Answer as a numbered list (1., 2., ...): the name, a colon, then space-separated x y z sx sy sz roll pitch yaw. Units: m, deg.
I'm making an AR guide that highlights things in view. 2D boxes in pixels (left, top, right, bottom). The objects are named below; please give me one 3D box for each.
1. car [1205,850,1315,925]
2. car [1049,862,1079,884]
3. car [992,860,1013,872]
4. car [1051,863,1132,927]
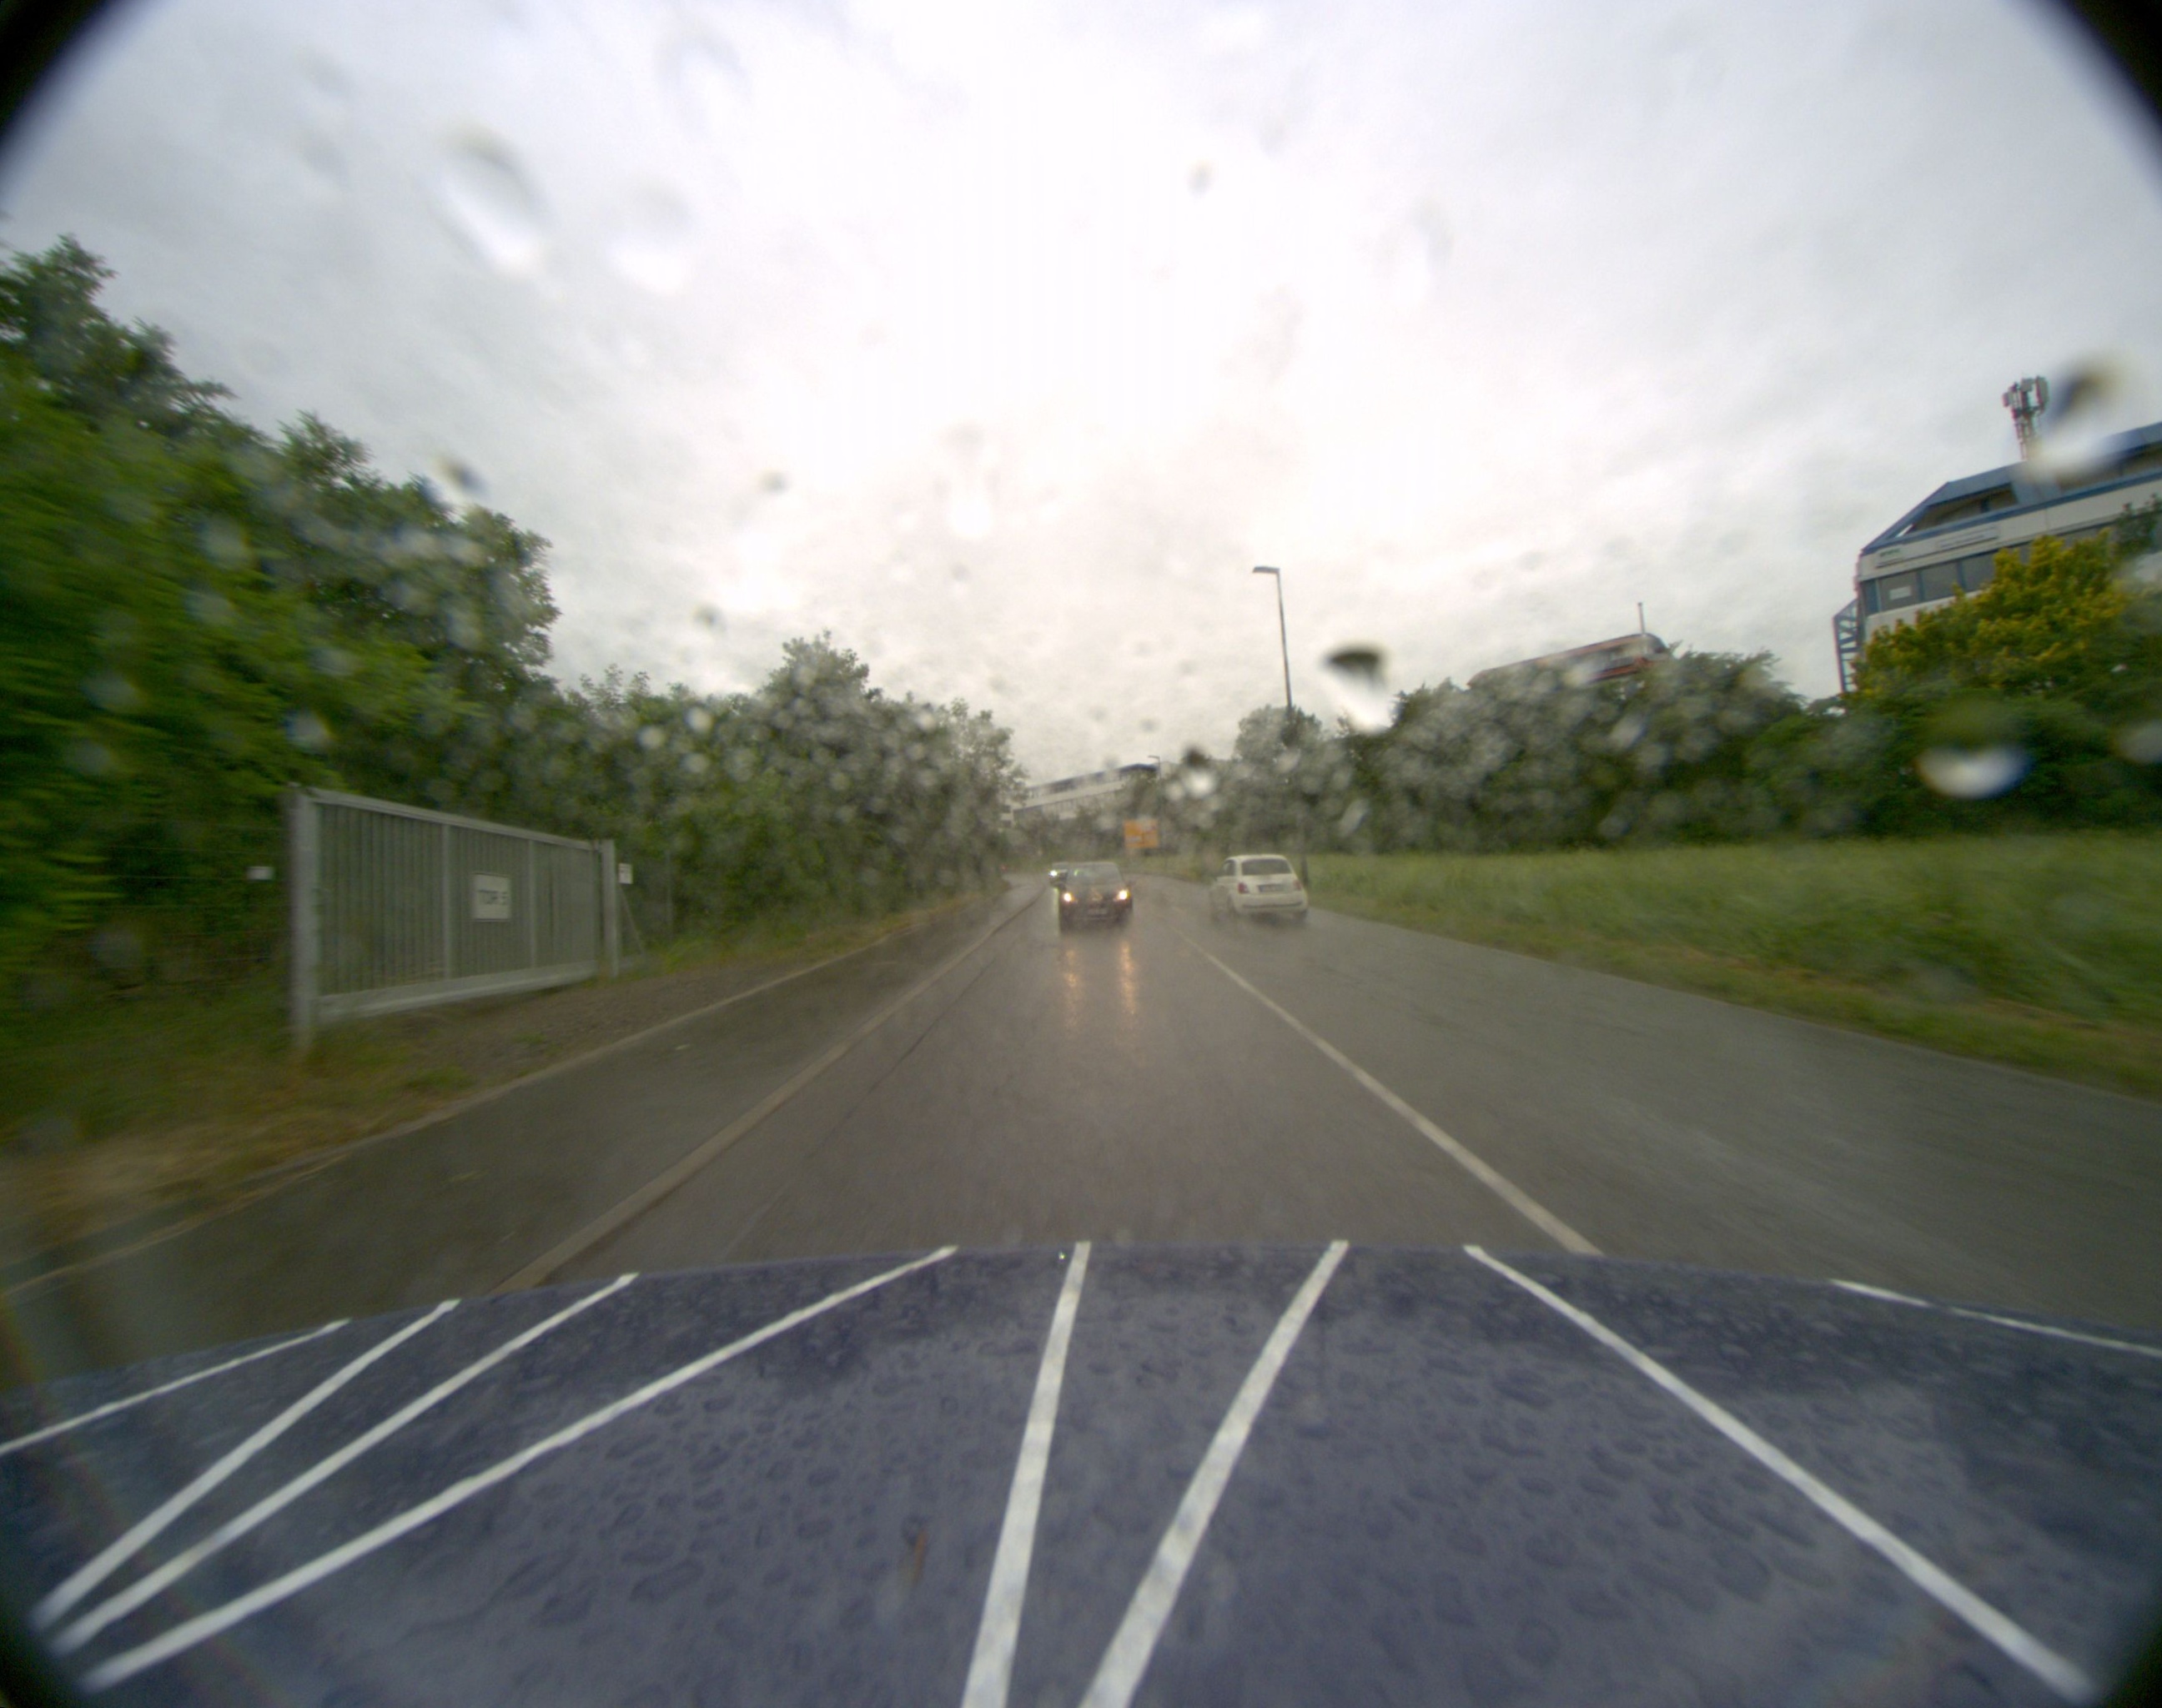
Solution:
1. car: 3.986 0.688 17.413 1.643 1.480 3.453 -2 0 0
2. car: -1.271 1.333 54.652 1.874 1.432 4.376 -3 0 -5
3. car: -10.967 1.690 106.018 1.872 1.543 4.259 -4 0 -21
4. car: 0.208 0.996 20.008 1.874 1.432 4.377 -1 0 -1
